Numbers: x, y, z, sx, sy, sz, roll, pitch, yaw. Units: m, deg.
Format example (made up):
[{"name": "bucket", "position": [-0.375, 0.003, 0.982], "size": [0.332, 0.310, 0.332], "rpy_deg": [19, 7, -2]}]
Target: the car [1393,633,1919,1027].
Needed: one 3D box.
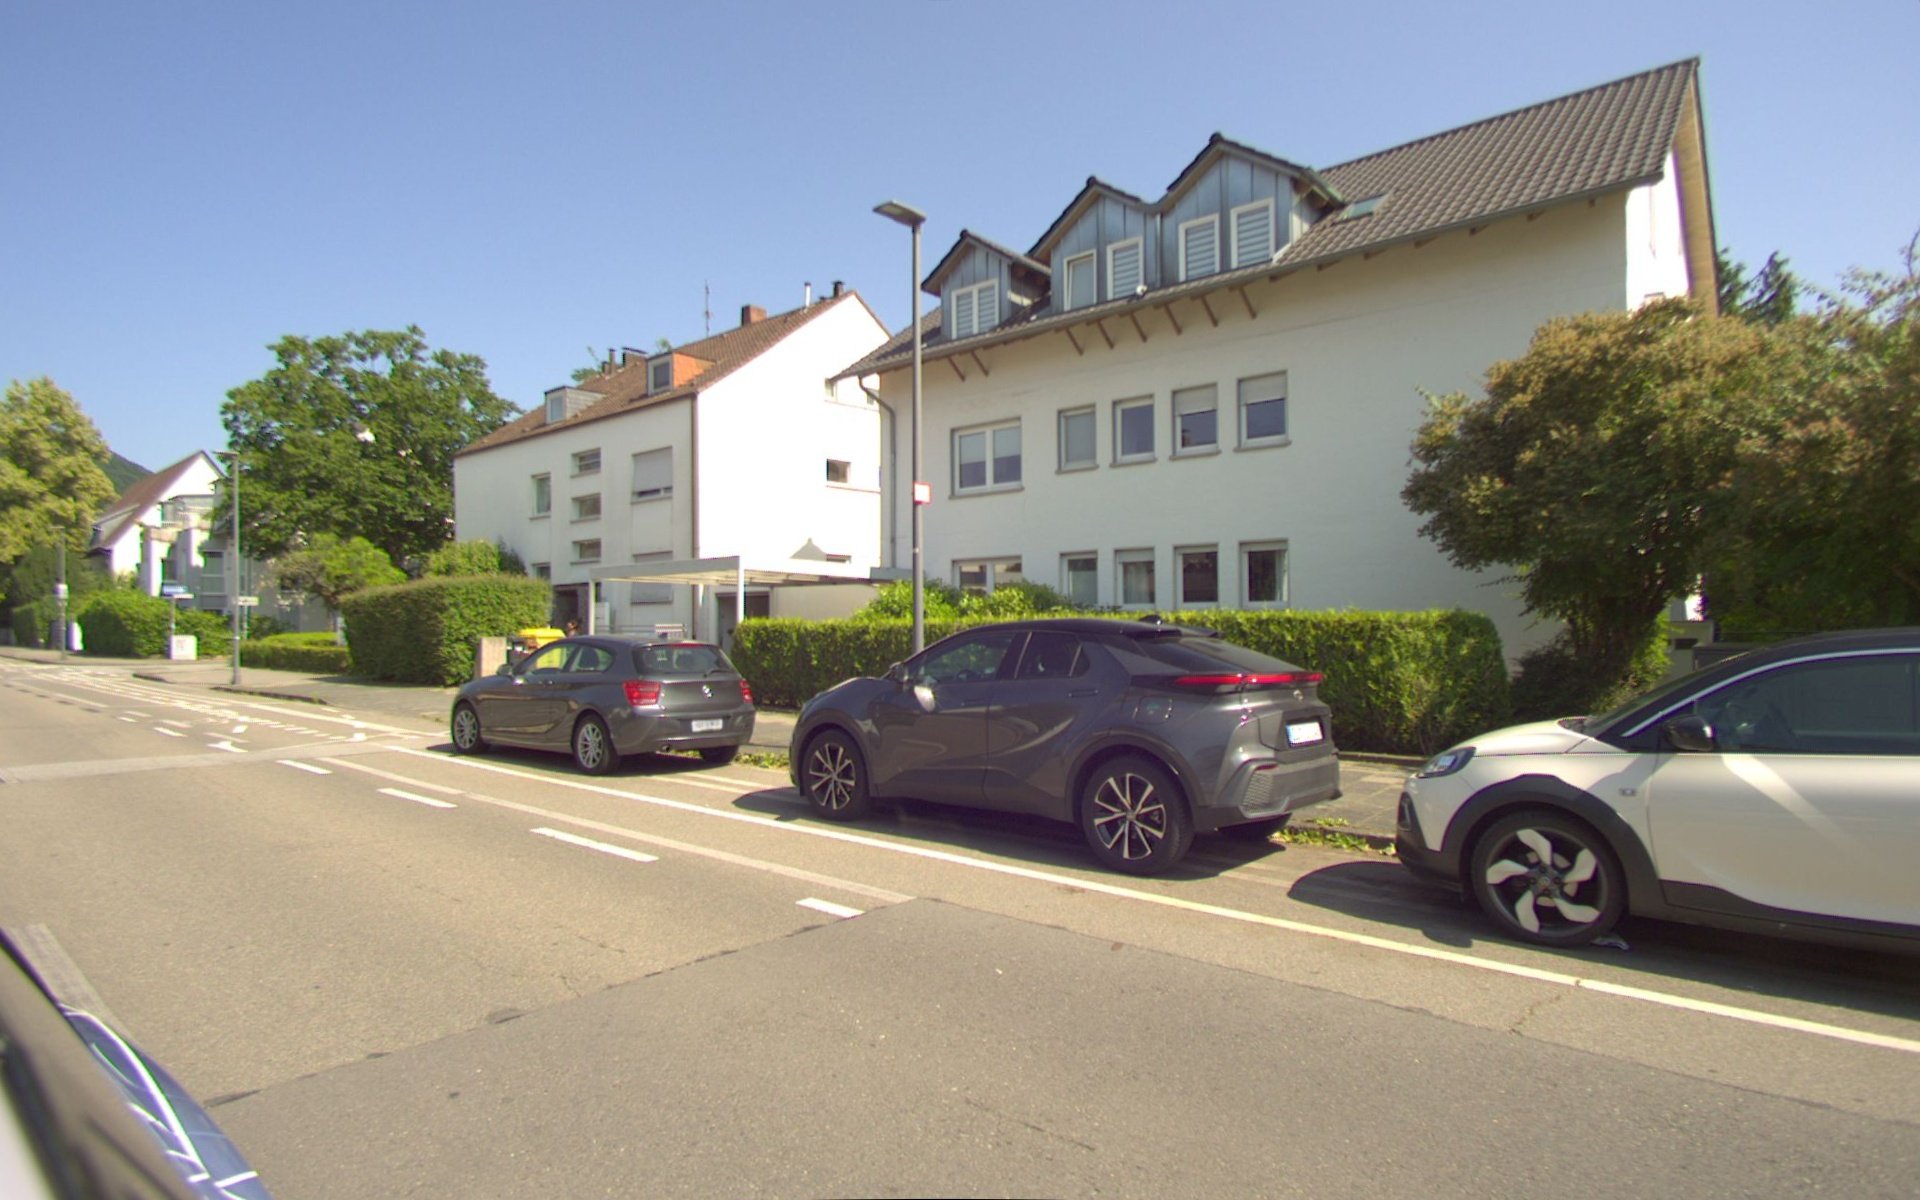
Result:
[{"name": "car", "position": [4.219, 0.912, 4.355], "size": [3.998, 1.451, 1.766], "rpy_deg": [-2, -6, 41]}]

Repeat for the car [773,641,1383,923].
[{"name": "car", "position": [0.637, 1.050, 7.318], "size": [4.108, 1.451, 1.766], "rpy_deg": [-3, -3, 41]}]

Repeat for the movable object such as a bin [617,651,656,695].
[{"name": "movable object such as a bin", "position": [-8.455, 1.887, 26.453], "size": [0.706, 1.100, 0.694], "rpy_deg": [-1, -2, 37]}]

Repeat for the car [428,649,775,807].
[{"name": "car", "position": [-4.153, 1.293, 11.445], "size": [4.150, 1.451, 1.768], "rpy_deg": [-2, -4, 39]}]

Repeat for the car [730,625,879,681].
[{"name": "car", "position": [-4.294, 1.436, 28.382], "size": [1.897, 1.426, 3.950], "rpy_deg": [-2, -2, 37]}]

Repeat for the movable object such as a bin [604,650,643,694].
[{"name": "movable object such as a bin", "position": [-8.924, 1.897, 26.820], "size": [0.706, 1.100, 0.694], "rpy_deg": [-1, -2, 37]}]
